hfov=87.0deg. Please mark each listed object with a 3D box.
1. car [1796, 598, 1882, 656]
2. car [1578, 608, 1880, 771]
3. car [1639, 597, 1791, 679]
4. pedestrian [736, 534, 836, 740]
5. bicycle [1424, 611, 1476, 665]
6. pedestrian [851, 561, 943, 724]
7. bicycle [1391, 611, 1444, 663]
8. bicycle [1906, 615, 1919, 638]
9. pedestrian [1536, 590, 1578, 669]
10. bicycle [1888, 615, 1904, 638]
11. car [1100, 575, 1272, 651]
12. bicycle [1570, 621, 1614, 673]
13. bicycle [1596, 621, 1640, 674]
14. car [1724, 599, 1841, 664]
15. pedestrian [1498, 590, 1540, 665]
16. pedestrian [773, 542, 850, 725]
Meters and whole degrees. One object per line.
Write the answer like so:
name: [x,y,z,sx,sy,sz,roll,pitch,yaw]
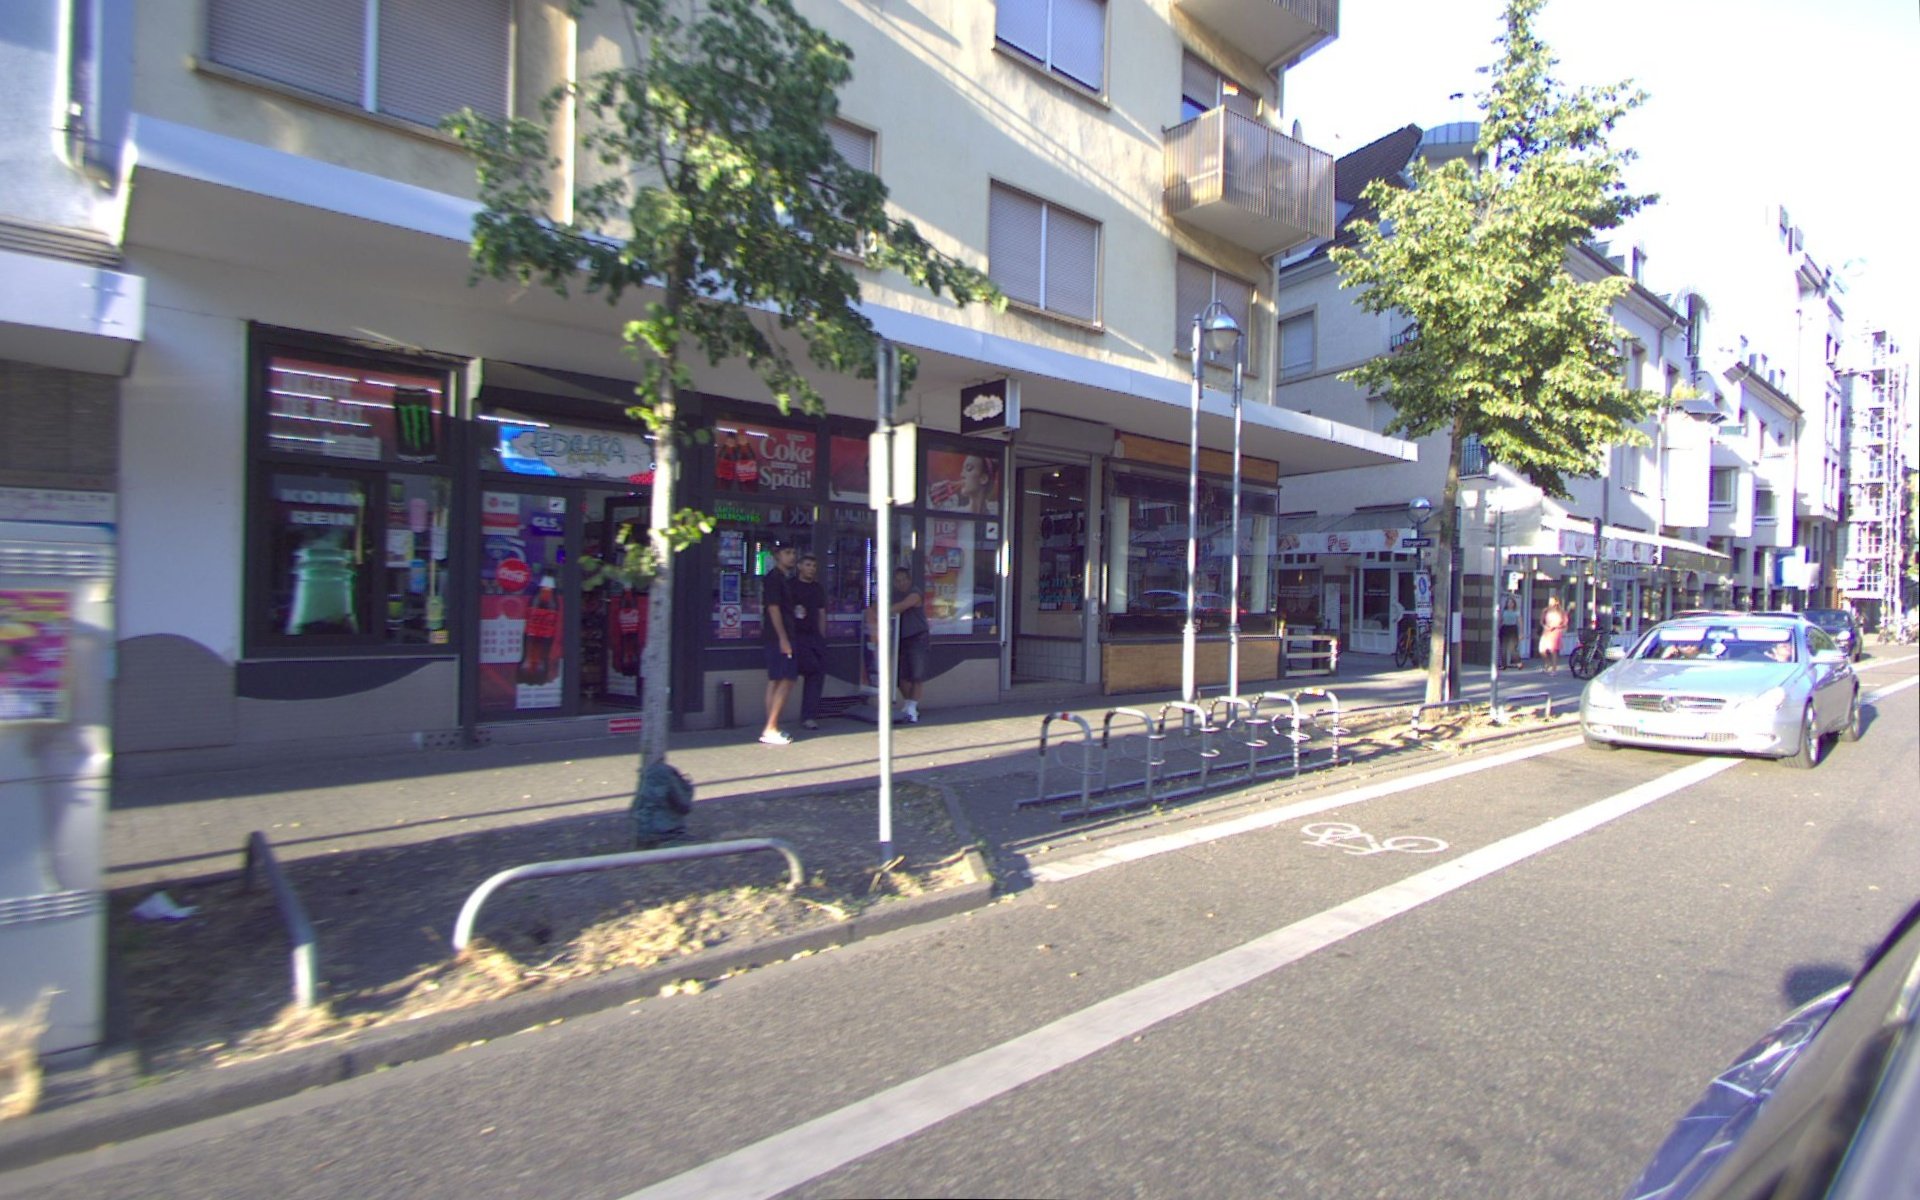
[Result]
car: [25.960,0.754,29.864,2.755,1.568,1.570,0,2,-42]
car: [8.395,0.789,10.884,4.474,1.395,1.803,0,-1,-42]
car: [15.433,0.706,20.617,3.963,1.439,1.725,0,2,-42]
pedestrian: [-1.633,0.336,9.480,0.639,1.830,0.709,1,-2,-41]
bicycle: [10.196,0.775,21.039,1.814,1.063,0.391,0,1,-45]
pedestrian: [-0.686,0.447,10.986,0.763,1.681,0.643,1,-2,-41]
bicycle: [9.747,0.759,21.547,1.814,1.046,0.391,0,1,-45]
bicycle: [41.962,1.165,44.520,0.468,0.970,1.888,2,1,43]
pedestrian: [12.139,0.588,20.565,0.544,1.549,0.541,1,0,-36]
bicycle: [41.640,1.172,45.033,0.468,0.970,1.890,2,1,41]
car: [5.465,0.256,24.998,1.819,1.631,4.190,1,2,-28]
bicycle: [12.755,0.929,20.401,1.613,0.968,0.391,0,1,-45]
bicycle: [13.068,0.926,20.088,1.589,0.968,0.391,0,1,-45]
car: [20.760,0.738,25.486,3.684,1.439,1.725,0,2,-42]
pedestrian: [11.847,0.578,21.463,0.638,1.549,0.541,1,0,-36]
pedestrian: [-1.521,0.335,10.366,0.577,1.806,0.523,-1,-2,30]
